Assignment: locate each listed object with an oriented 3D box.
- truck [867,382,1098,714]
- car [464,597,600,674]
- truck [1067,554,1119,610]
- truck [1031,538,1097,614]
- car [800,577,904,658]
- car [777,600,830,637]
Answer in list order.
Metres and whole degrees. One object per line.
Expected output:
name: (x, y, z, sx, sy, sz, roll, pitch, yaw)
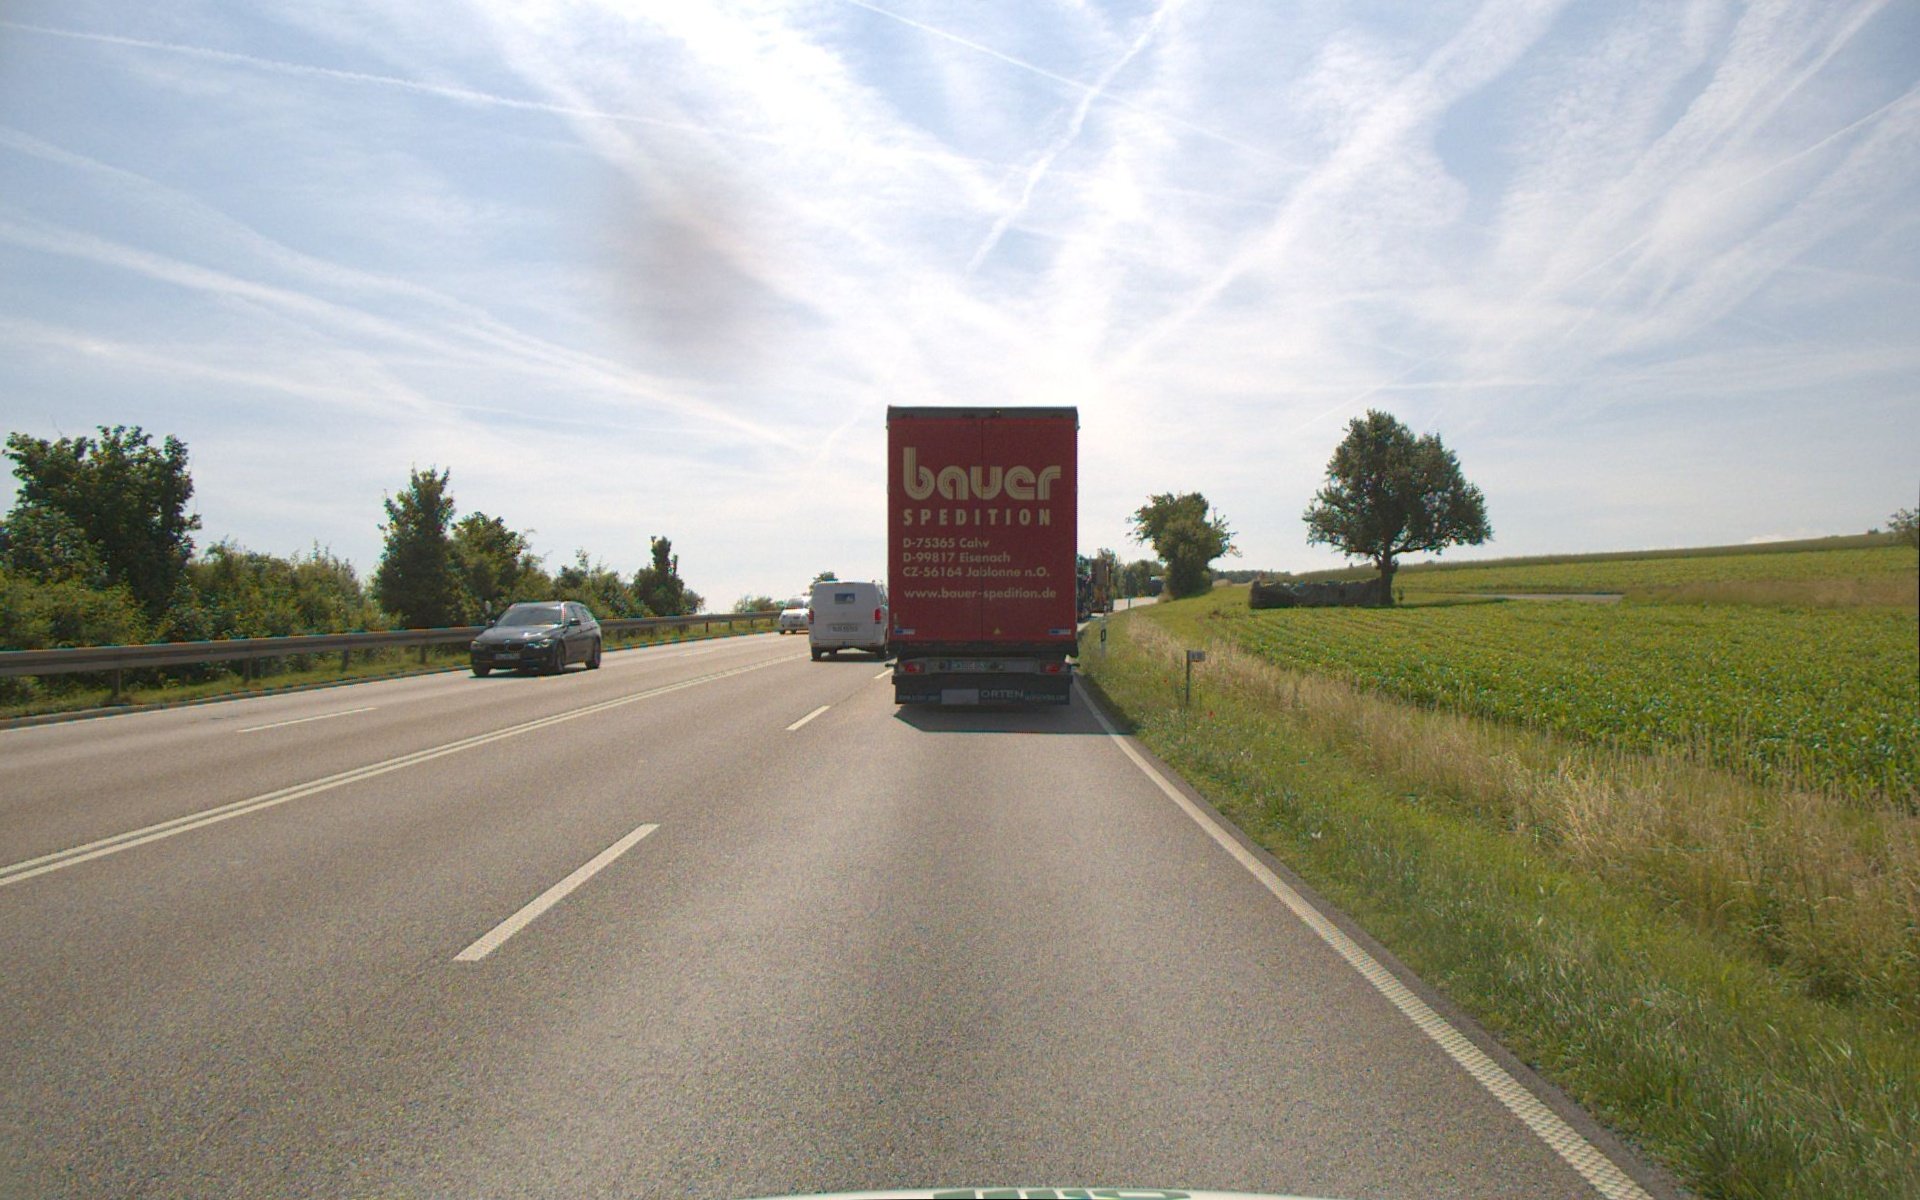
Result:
truck: (0.443, -0.693, 29.593, 2.945, 4.253, 16.716, 0, 0, 1)
car: (-8.822, 0.697, 34.410, 1.682, 1.487, 4.216, 0, 0, 1)
truck: (10.521, -1.331, 128.814, 2.982, 3.978, 18.412, -1, 0, 8)
truck: (6.127, -1.297, 95.180, 2.982, 3.978, 15.626, -1, 0, 6)
car: (-2.662, 0.415, 42.043, 1.865, 1.917, 5.435, 0, 0, 4)
car: (-6.538, 0.754, 69.448, 1.623, 1.483, 3.736, -1, 0, 3)
